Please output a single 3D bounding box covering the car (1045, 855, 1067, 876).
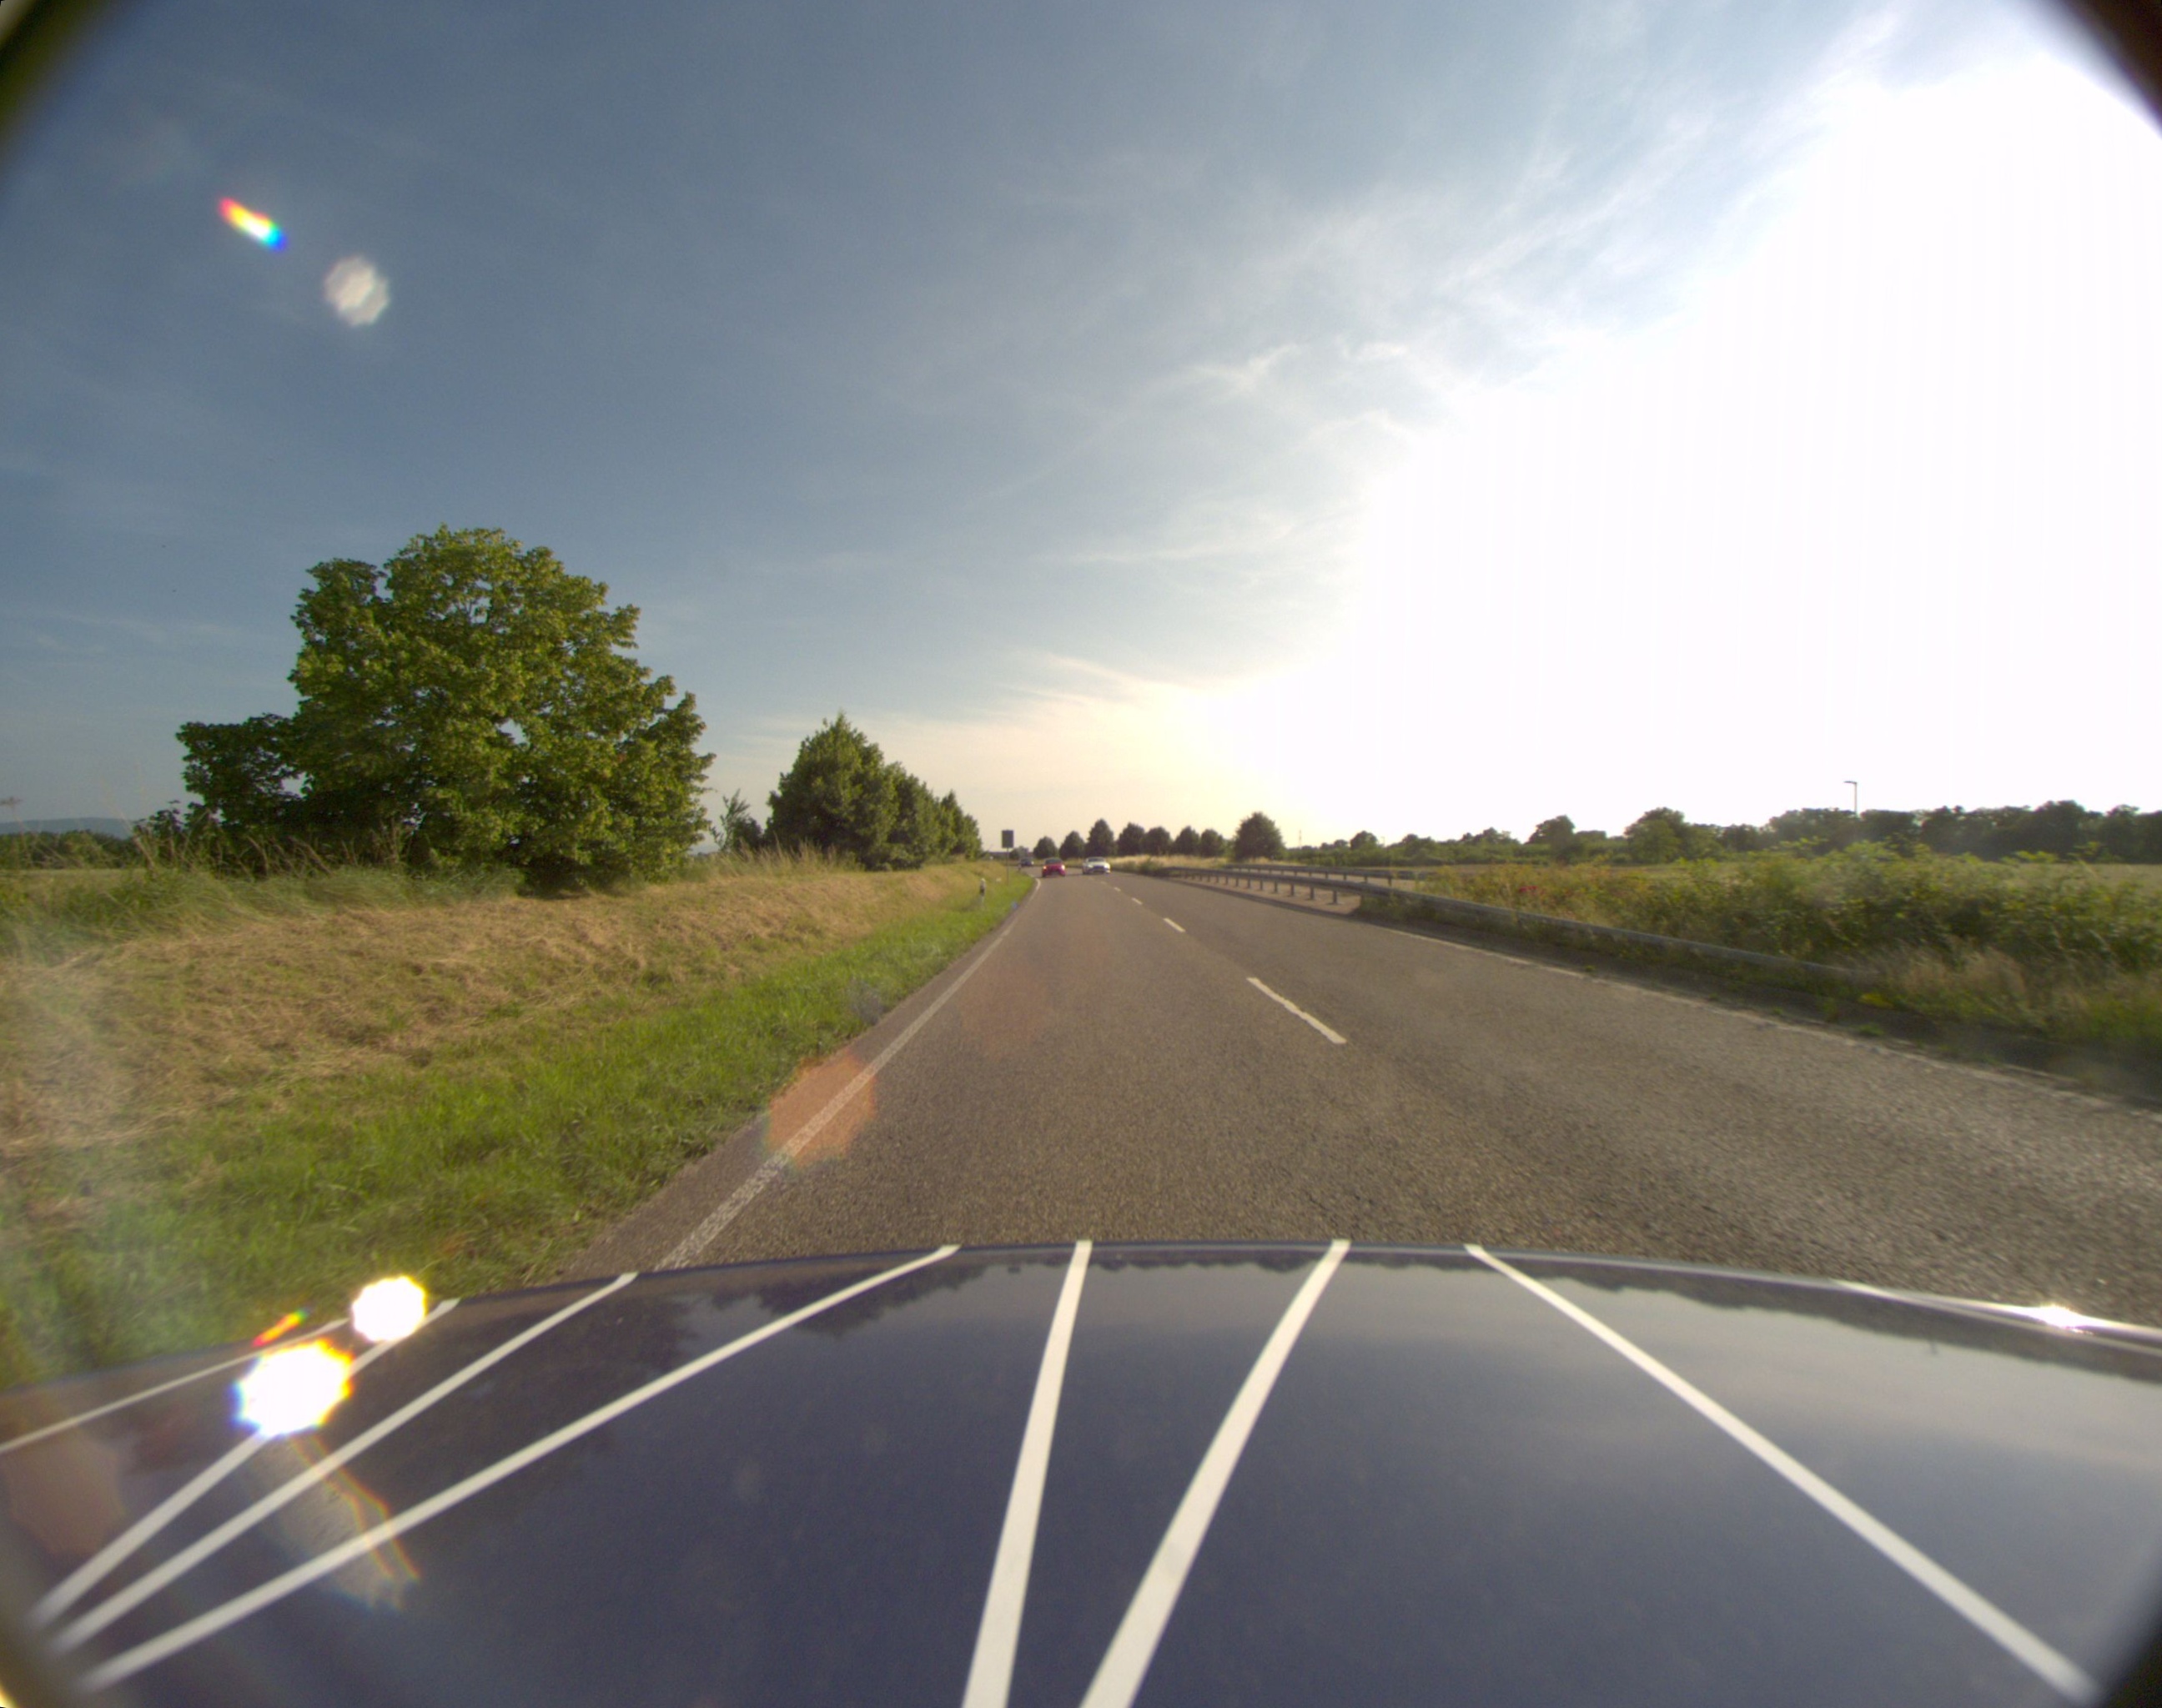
[{"bbox_3d":[-1.982,0.880,60.383,1.666,1.455,3.954,-2,1,-2],"label":"car"}]

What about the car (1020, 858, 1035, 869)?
[{"bbox_3d":[-8.030,1.416,114.109,1.753,1.521,3.996,-2,0,-10],"label":"car"}]

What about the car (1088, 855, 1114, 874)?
[{"bbox_3d":[1.624,0.854,61.899,1.876,1.390,4.203,-2,0,-1],"label":"car"}]
